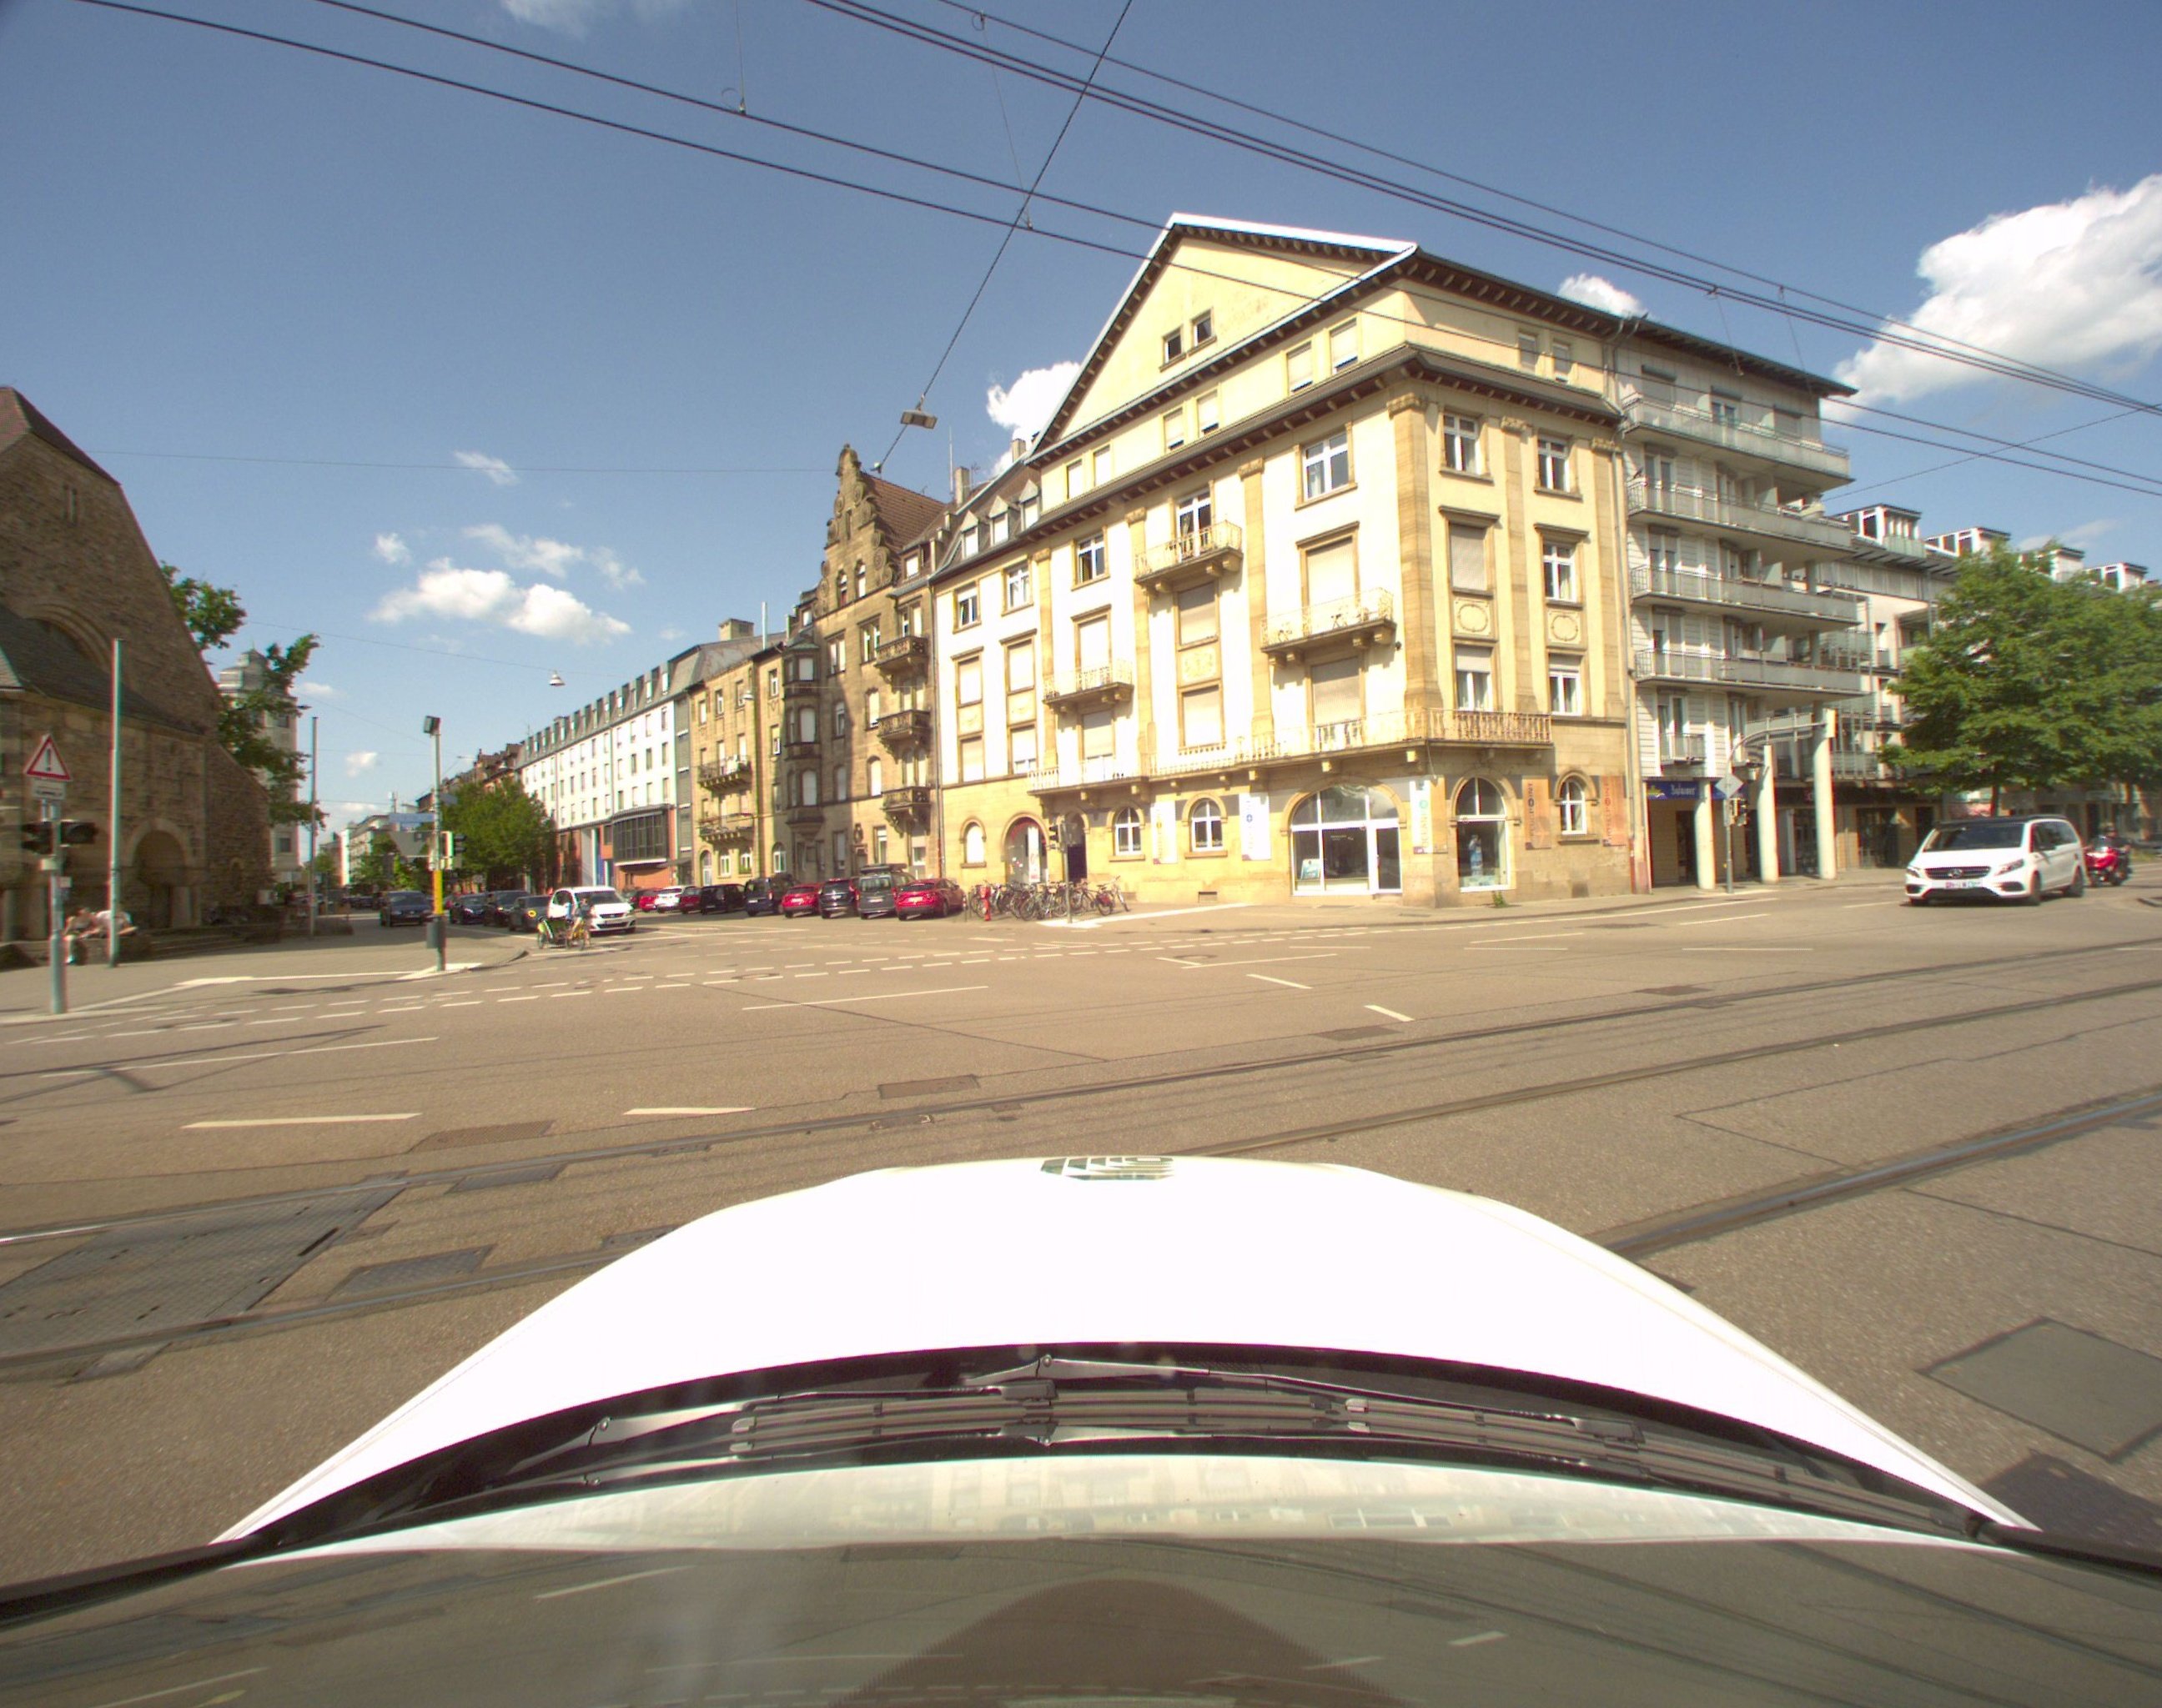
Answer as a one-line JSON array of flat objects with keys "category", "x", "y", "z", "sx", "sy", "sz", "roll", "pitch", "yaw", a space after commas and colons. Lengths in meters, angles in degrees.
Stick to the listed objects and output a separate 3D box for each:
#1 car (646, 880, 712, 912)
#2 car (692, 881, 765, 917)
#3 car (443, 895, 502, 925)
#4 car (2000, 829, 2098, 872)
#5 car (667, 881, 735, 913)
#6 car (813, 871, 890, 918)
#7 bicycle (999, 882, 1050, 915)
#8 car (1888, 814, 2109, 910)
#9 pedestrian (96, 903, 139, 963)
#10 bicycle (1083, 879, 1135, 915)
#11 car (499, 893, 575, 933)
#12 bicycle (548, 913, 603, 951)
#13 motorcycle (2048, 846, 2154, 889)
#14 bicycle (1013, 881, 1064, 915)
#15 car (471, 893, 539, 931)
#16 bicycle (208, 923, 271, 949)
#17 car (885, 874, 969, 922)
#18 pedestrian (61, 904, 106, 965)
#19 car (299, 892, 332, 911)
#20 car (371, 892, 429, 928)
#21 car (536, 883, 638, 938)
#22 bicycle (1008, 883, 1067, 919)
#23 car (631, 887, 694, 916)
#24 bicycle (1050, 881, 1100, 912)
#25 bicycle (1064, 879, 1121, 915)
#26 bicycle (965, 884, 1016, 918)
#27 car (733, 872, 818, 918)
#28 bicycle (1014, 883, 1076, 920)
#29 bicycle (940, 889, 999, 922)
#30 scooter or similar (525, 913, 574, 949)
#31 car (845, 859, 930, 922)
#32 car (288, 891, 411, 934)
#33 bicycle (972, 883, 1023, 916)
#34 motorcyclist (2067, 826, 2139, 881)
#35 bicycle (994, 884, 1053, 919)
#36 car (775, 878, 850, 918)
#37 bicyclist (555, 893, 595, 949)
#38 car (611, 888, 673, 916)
[{"category": "car", "x": -23.513, "y": 2.448, "z": 47.798, "sx": 1.592, "sy": 1.500, "sz": 3.784, "roll": -4, "pitch": 1, "yaw": 7}, {"category": "car", "x": -18.957, "y": 2.379, "z": 43.979, "sx": 1.696, "sy": 1.546, "sz": 4.008, "roll": -4, "pitch": 1, "yaw": 7}, {"category": "car", "x": -31.404, "y": 2.876, "z": 41.976, "sx": 3.812, "sy": 1.390, "sz": 1.714, "roll": -3, "pitch": -1, "yaw": 42}, {"category": "car", "x": 44.687, "y": -0.195, "z": 37.604, "sx": 4.004, "sy": 1.789, "sz": 1.839, "roll": -2, "pitch": 1, "yaw": -23}, {"category": "car", "x": -21.356, "y": 2.384, "z": 45.944, "sx": 1.592, "sy": 1.455, "sz": 3.784, "roll": -4, "pitch": 1, "yaw": 7}, {"category": "car", "x": -9.846, "y": 1.700, "z": 35.299, "sx": 1.696, "sy": 1.668, "sz": 4.008, "roll": -4, "pitch": 1, "yaw": 7}, {"category": "bicycle", "x": -2.029, "y": 1.596, "z": 29.563, "sx": 0.533, "sy": 1.018, "sz": 1.941, "roll": -3, "pitch": 1, "yaw": 42}, {"category": "car", "x": 20.940, "y": 0.140, "z": 18.558, "sx": 5.182, "sy": 1.891, "sz": 1.983, "roll": -2, "pitch": -1, "yaw": -26}, {"category": "pedestrian", "x": -24.420, "y": 1.986, "z": 20.643, "sx": 0.511, "sy": 1.406, "sz": 0.561, "roll": 4, "pitch": 3, "yaw": 21}, {"category": "bicycle", "x": 0.923, "y": 1.392, "z": 26.588, "sx": 0.602, "sy": 1.018, "sz": 1.889, "roll": -3, "pitch": 1, "yaw": 40}, {"category": "car", "x": -22.081, "y": 2.353, "z": 33.004, "sx": 3.688, "sy": 1.450, "sz": 1.685, "roll": -3, "pitch": -1, "yaw": 42}, {"category": "bicycle", "x": -14.385, "y": 2.198, "z": 23.148, "sx": 2.106, "sy": 0.989, "sz": 0.656, "roll": -3, "pitch": -2, "yaw": 39}, {"category": "motorcycle", "x": 27.436, "y": 0.343, "z": 21.902, "sx": 3.103, "sy": 1.023, "sz": 0.890, "roll": -2, "pitch": -1, "yaw": -22}, {"category": "bicycle", "x": -1.512, "y": 1.557, "z": 29.117, "sx": 0.533, "sy": 1.018, "sz": 1.941, "roll": -3, "pitch": 1, "yaw": 42}, {"category": "car", "x": -26.992, "y": 2.693, "z": 38.118, "sx": 4.020, "sy": 1.597, "sz": 1.714, "roll": -3, "pitch": -1, "yaw": 42}, {"category": "bicycle", "x": -27.156, "y": 2.645, "z": 26.302, "sx": 1.368, "sy": 0.741, "sz": 0.336, "roll": -2, "pitch": -1, "yaw": -24}, {"category": "car", "x": -5.806, "y": 1.638, "z": 31.234, "sx": 1.951, "sy": 1.441, "sz": 4.008, "roll": -4, "pitch": 1, "yaw": 7}, {"category": "pedestrian", "x": -24.628, "y": 1.983, "z": 20.110, "sx": 0.511, "sy": 1.406, "sz": 0.561, "roll": 4, "pitch": 3, "yaw": 21}, {"category": "car", "x": -58.169, "y": 3.600, "z": 61.921, "sx": 1.652, "sy": 1.325, "sz": 3.698, "roll": -1, "pitch": -1, "yaw": -41}, {"category": "car", "x": -35.326, "y": 2.857, "z": 42.215, "sx": 4.021, "sy": 1.664, "sz": 1.826, "roll": -2, "pitch": 0, "yaw": 43}, {"category": "car", "x": -17.593, "y": 1.963, "z": 28.931, "sx": 4.604, "sy": 1.740, "sz": 1.826, "roll": -3, "pitch": -1, "yaw": 42}, {"category": "bicycle", "x": -1.470, "y": 1.573, "z": 27.493, "sx": 1.936, "sy": 1.018, "sz": 0.534, "roll": -4, "pitch": 1, "yaw": -34}, {"category": "car", "x": -25.619, "y": 2.895, "z": 49.953, "sx": 1.592, "sy": 1.396, "sz": 3.580, "roll": -4, "pitch": 1, "yaw": 7}, {"category": "bicycle", "x": -0.235, "y": 1.477, "z": 28.641, "sx": 0.543, "sy": 1.018, "sz": 1.905, "roll": -5, "pitch": 1, "yaw": -43}, {"category": "bicycle", "x": 0.407, "y": 1.424, "z": 27.172, "sx": 1.886, "sy": 1.018, "sz": 0.603, "roll": -4, "pitch": 1, "yaw": -38}, {"category": "bicycle", "x": -3.219, "y": 1.667, "z": 29.031, "sx": 0.533, "sy": 1.018, "sz": 1.941, "roll": -4, "pitch": 1, "yaw": 39}, {"category": "car", "x": -14.947, "y": 1.977, "z": 40.075, "sx": 1.897, "sy": 1.824, "sz": 4.015, "roll": -4, "pitch": 1, "yaw": 13}, {"category": "bicycle", "x": -1.176, "y": 1.546, "z": 26.771, "sx": 1.878, "sy": 1.018, "sz": 0.598, "roll": -4, "pitch": 1, "yaw": -21}, {"category": "bicycle", "x": -3.766, "y": 1.743, "z": 27.483, "sx": 1.904, "sy": 1.018, "sz": 0.543, "roll": -4, "pitch": 1, "yaw": 26}, {"category": "scooter or similar", "x": -15.739, "y": 2.275, "z": 24.117, "sx": 1.116, "sy": 0.977, "sz": 0.896, "roll": -3, "pitch": -2, "yaw": 39}, {"category": "car", "x": -7.869, "y": 1.433, "z": 33.564, "sx": 1.951, "sy": 2.081, "sz": 4.009, "roll": -4, "pitch": 3, "yaw": 7}, {"category": "car", "x": -32.689, "y": 2.600, "z": 36.468, "sx": 3.935, "sy": 1.652, "sz": 2.038, "roll": -3, "pitch": -1, "yaw": 10}, {"category": "bicycle", "x": -3.063, "y": 1.656, "z": 30.109, "sx": 0.533, "sy": 1.018, "sz": 1.941, "roll": -3, "pitch": 1, "yaw": 42}, {"category": "motorcyclist", "x": 27.536, "y": -0.011, "z": 21.957, "sx": 1.088, "sy": 1.404, "sz": 0.890, "roll": -2, "pitch": -1, "yaw": -22}, {"category": "bicycle", "x": -1.964, "y": 1.608, "z": 27.827, "sx": 1.936, "sy": 1.018, "sz": 0.534, "roll": -5, "pitch": 1, "yaw": -33}, {"category": "car", "x": -12.355, "y": 1.994, "z": 37.741, "sx": 1.903, "sy": 1.444, "sz": 4.002, "roll": -4, "pitch": 1, "yaw": 2}, {"category": "bicyclist", "x": -14.318, "y": 1.895, "z": 23.055, "sx": 0.910, "sy": 1.503, "sz": 0.656, "roll": -3, "pitch": -1, "yaw": 39}, {"category": "car", "x": -27.708, "y": 2.997, "z": 51.520, "sx": 1.592, "sy": 1.396, "sz": 3.580, "roll": -4, "pitch": 1, "yaw": 7}]
